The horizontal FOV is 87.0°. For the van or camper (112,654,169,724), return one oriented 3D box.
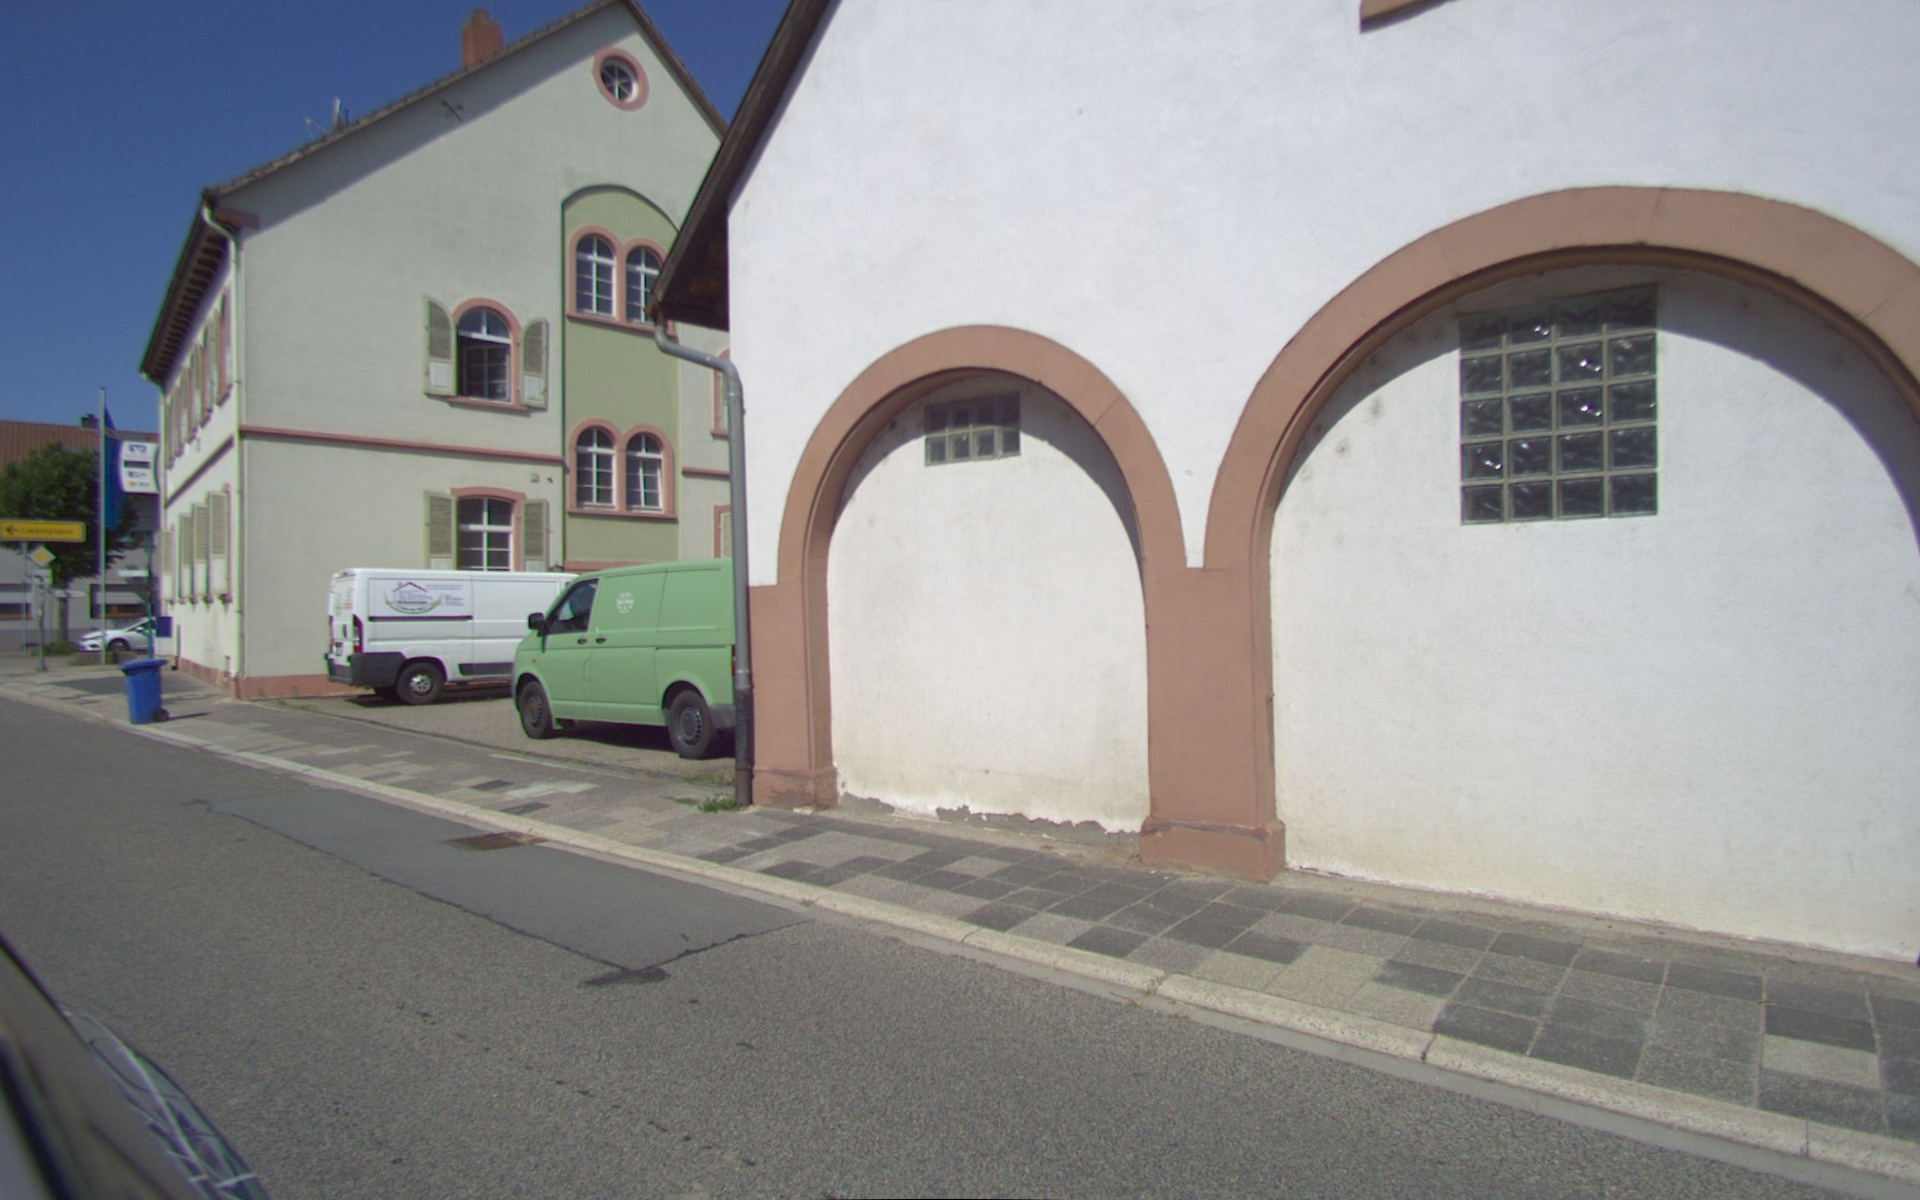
[{"bbox_3d":[-12.052,1.298,14.885,0.600,0.958,0.583,-1,0,44],"label":"van or camper"}]

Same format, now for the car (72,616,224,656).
[{"bbox_3d":[-32.570,1.393,40.716,1.851,1.451,4.459,-1,-1,35],"label":"car"}]

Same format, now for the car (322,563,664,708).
[{"bbox_3d":[-8.170,0.508,18.033,5.112,2.213,2.125,-2,0,-41],"label":"car"}]

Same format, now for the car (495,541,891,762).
[{"bbox_3d":[-3.141,0.500,11.346,4.665,1.979,1.973,-1,-1,40],"label":"car"}]
